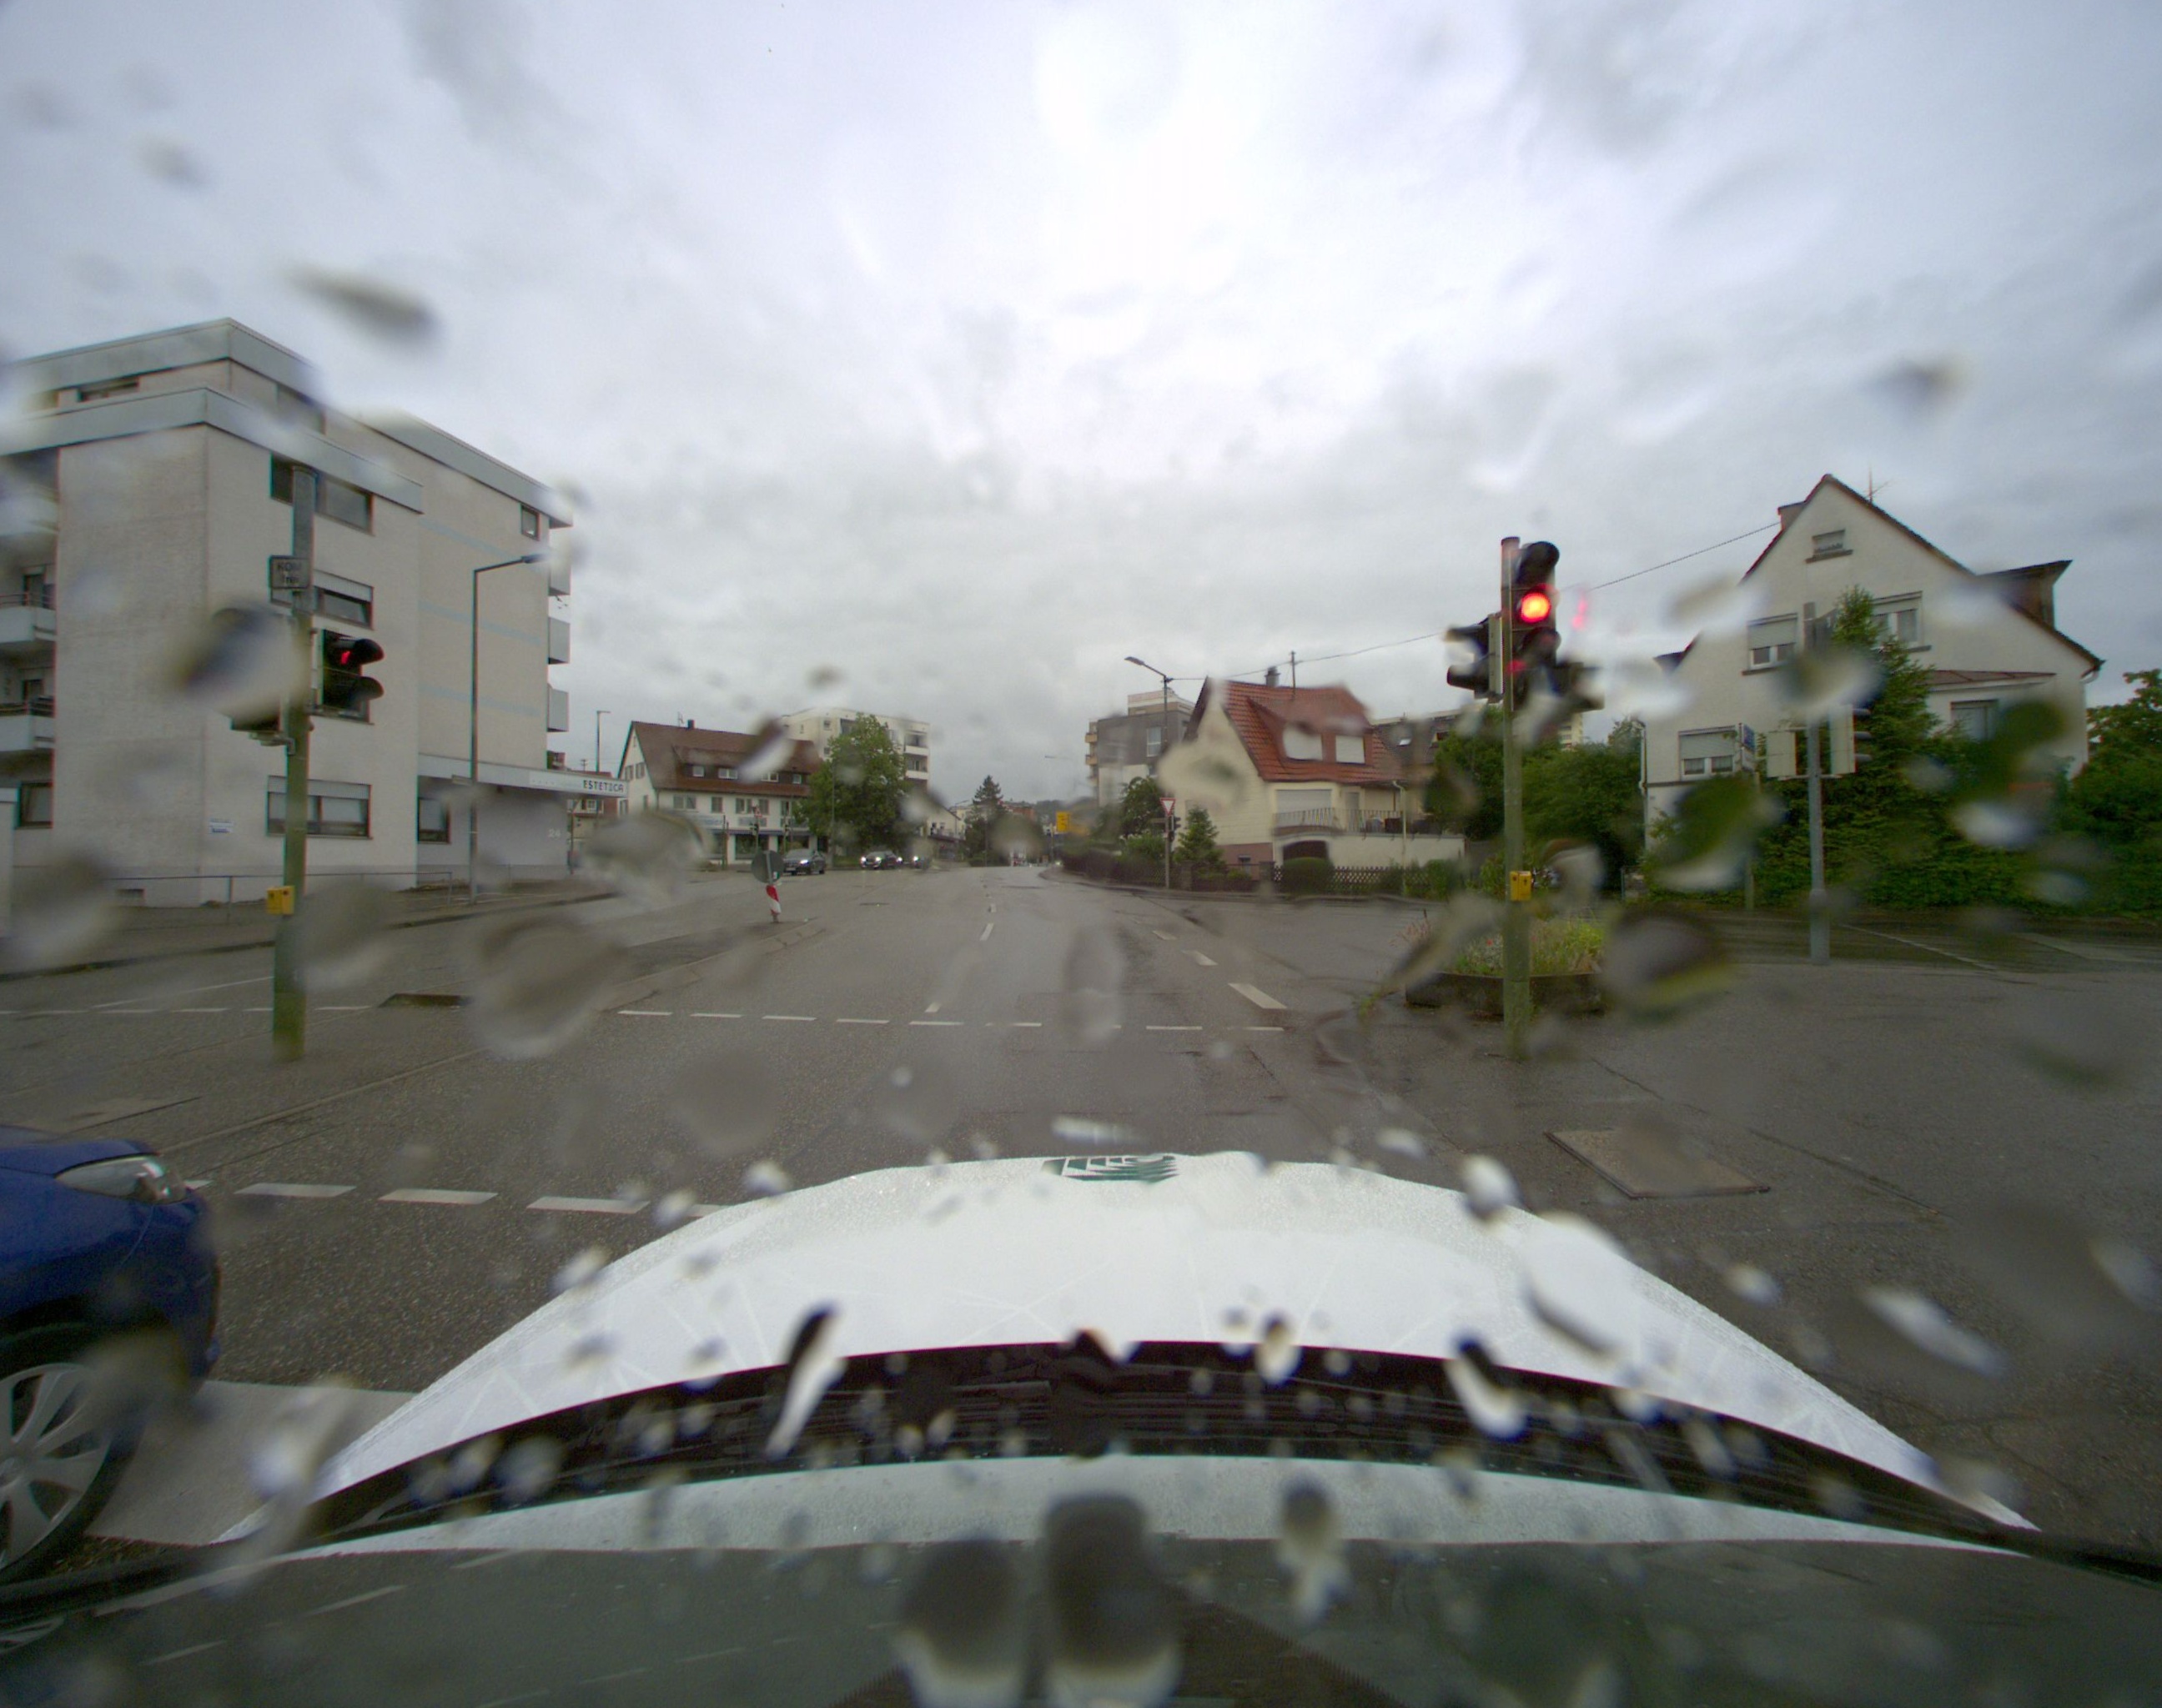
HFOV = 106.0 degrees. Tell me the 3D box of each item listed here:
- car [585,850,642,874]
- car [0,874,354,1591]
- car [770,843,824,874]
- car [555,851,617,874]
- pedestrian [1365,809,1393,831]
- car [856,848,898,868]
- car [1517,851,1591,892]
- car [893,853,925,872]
[{"bbox_3d":[-38.444,0.634,66.981,3.706,1.920,1.864,0,-1,-44],"label":"car"},{"bbox_3d":[-2.950,0.780,0.730,1.499,1.413,3.365,0,0,2],"label":"car"},{"bbox_3d":[-15.858,0.254,45.348,2.006,1.625,4.495,0,-1,-30],"label":"car"},{"bbox_3d":[-41.218,0.674,67.804,4.093,1.843,1.864,0,-1,-44],"label":"car"},{"bbox_3d":[12.770,-1.433,34.862,0.918,0.883,0.632,0,-3,-18],"label":"pedestrian"},{"bbox_3d":[-15.506,0.311,62.126,1.959,1.512,4.003,0,-1,3],"label":"car"},{"bbox_3d":[17.111,0.598,29.377,1.794,1.362,4.025,-1,-1,37],"label":"car"},{"bbox_3d":[-14.977,0.742,71.113,1.873,1.597,4.184,0,-1,0],"label":"car"}]
